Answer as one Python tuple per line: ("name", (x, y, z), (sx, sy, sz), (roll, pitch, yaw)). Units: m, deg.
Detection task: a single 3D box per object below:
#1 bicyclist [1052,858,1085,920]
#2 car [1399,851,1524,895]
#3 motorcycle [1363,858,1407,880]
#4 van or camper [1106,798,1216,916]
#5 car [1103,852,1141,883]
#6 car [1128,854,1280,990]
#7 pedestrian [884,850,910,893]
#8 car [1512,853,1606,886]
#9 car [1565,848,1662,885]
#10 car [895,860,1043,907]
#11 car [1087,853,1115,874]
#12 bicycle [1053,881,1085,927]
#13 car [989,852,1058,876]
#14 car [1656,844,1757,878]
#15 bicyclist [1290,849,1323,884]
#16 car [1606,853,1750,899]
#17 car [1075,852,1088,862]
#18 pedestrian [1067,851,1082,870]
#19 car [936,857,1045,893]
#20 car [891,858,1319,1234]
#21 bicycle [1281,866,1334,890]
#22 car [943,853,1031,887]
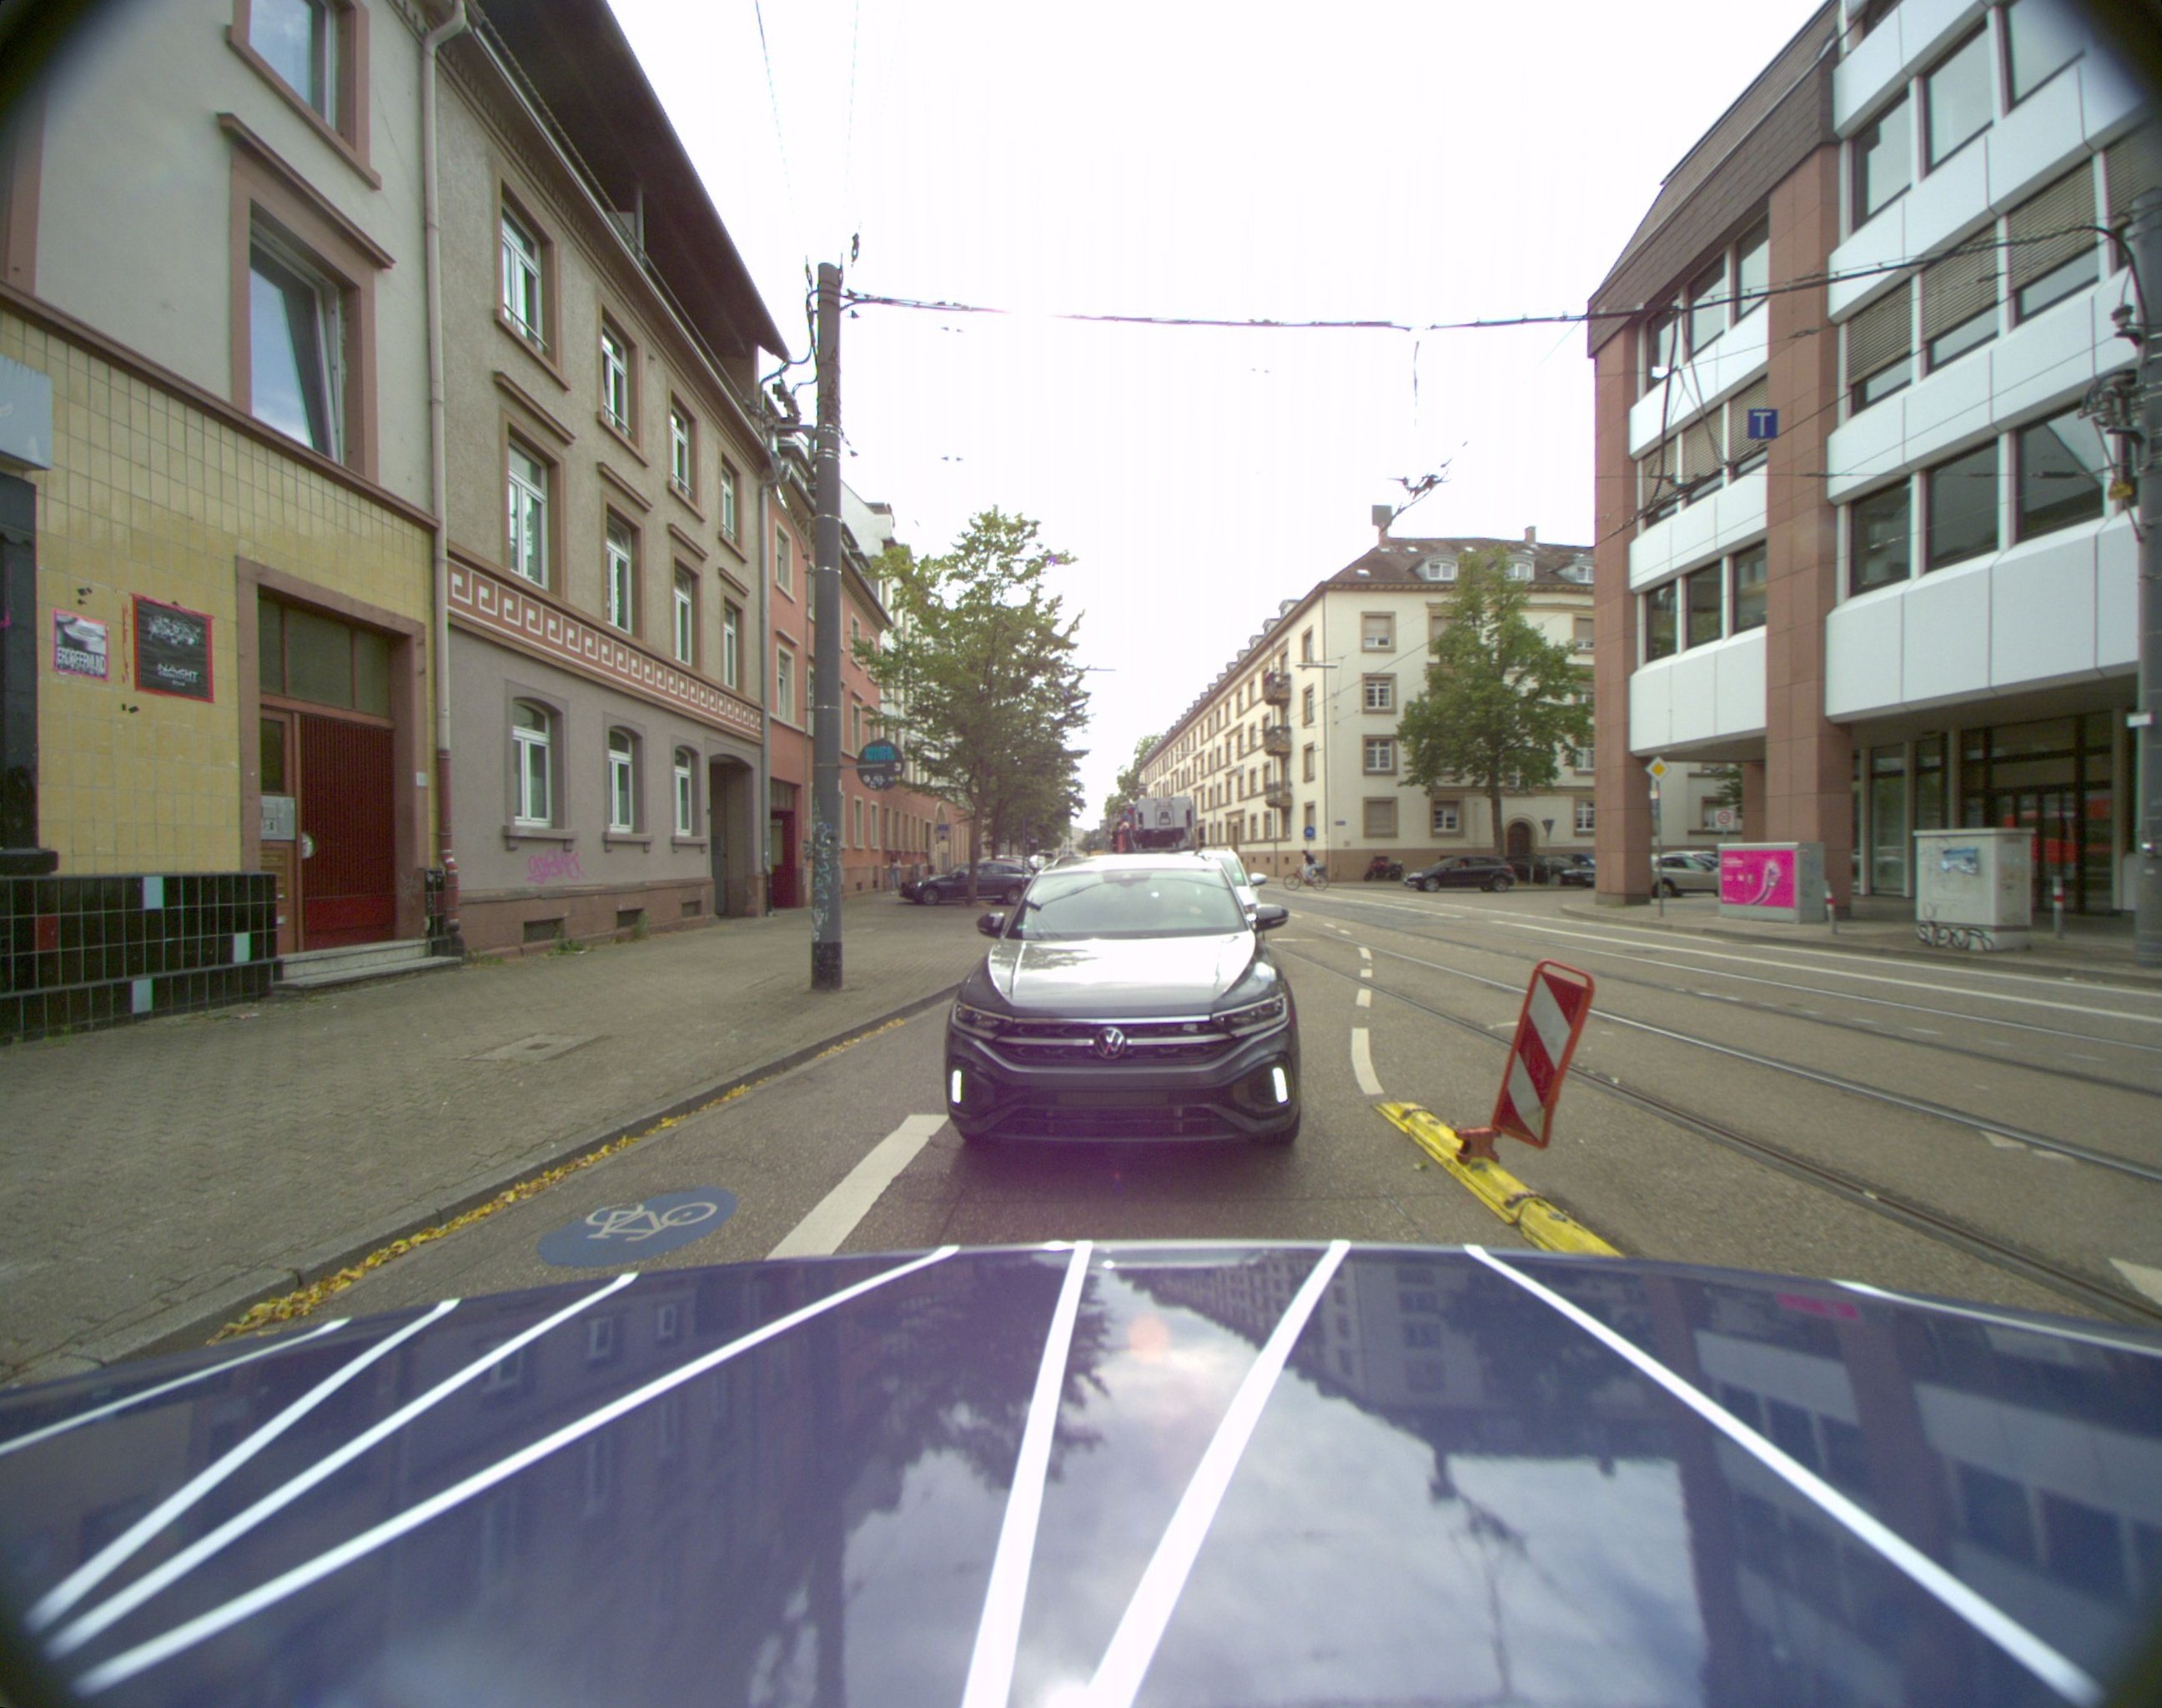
("bicyclist", (-0.332, 0.871, 19.397), (0.716, 1.498, 0.918), (-3, 0, -3))
("car", (14.881, 0.729, 29.918), (4.042, 1.528, 1.776), (-2, 0, 10))
("motorcycle", (15.308, 0.764, 38.265), (1.924, 1.080, 0.793), (-1, 0, -1))
("van or camper", (2.490, 0.083, 26.871), (2.607, 3.401, 9.651), (-1, 0, -1))
("car", (2.344, 0.737, 44.461), (1.998, 1.698, 4.053), (-1, 0, 1))
("car", (1.691, 0.836, 11.360), (1.772, 1.582, 4.284), (-2, 0, 5))
("pedestrian", (-7.410, 0.694, 30.649), (0.732, 1.678, 0.926), (3, 0, -1))
("car", (21.173, 0.654, 33.845), (1.611, 1.388, 3.874), (-1, 0, -3))
("car", (23.573, 0.520, 33.809), (1.611, 1.538, 3.715), (-1, 0, -3))
("car", (-3.775, 0.958, 25.720), (4.635, 1.464, 1.786), (1, 0, -24))
("car", (1.467, 0.693, 58.033), (1.911, 1.478, 3.999), (-1, 0, -2))
("bicycle", (-0.316, 1.249, 19.396), (0.714, 1.012, 1.800), (-2, 0, -3))
("car", (-4.202, 0.772, 55.584), (4.635, 1.688, 1.913), (1, 0, -24))
("car", (28.499, 0.296, 34.754), (1.592, 1.453, 3.524), (-1, 0, -3))
("bicyclist", (9.430, 0.512, 31.771), (1.256, 1.453, 0.678), (-1, 0, 25))
("car", (19.195, 0.683, 24.470), (3.650, 1.380, 1.611), (-1, 0, -9))
("car", (0.168, 0.528, 145.115), (1.898, 1.806, 4.002), (-1, 0, 8))
("pedestrian", (-0.596, 0.610, 71.102), (1.016, 1.831, 1.003), (0, 1, 40))
("car", (-3.898, 0.895, 32.816), (4.351, 1.471, 1.786), (1, 0, -24))
("car", (0.257, 0.849, 5.376), (1.773, 1.538, 4.283), (-2, 0, 5))
("bicycle", (9.464, 0.991, 31.749), (2.007, 0.959, 0.674), (-1, -1, 25))
("car", (-4.931, 0.836, 39.929), (4.245, 1.688, 1.736), (1, 0, -24))
